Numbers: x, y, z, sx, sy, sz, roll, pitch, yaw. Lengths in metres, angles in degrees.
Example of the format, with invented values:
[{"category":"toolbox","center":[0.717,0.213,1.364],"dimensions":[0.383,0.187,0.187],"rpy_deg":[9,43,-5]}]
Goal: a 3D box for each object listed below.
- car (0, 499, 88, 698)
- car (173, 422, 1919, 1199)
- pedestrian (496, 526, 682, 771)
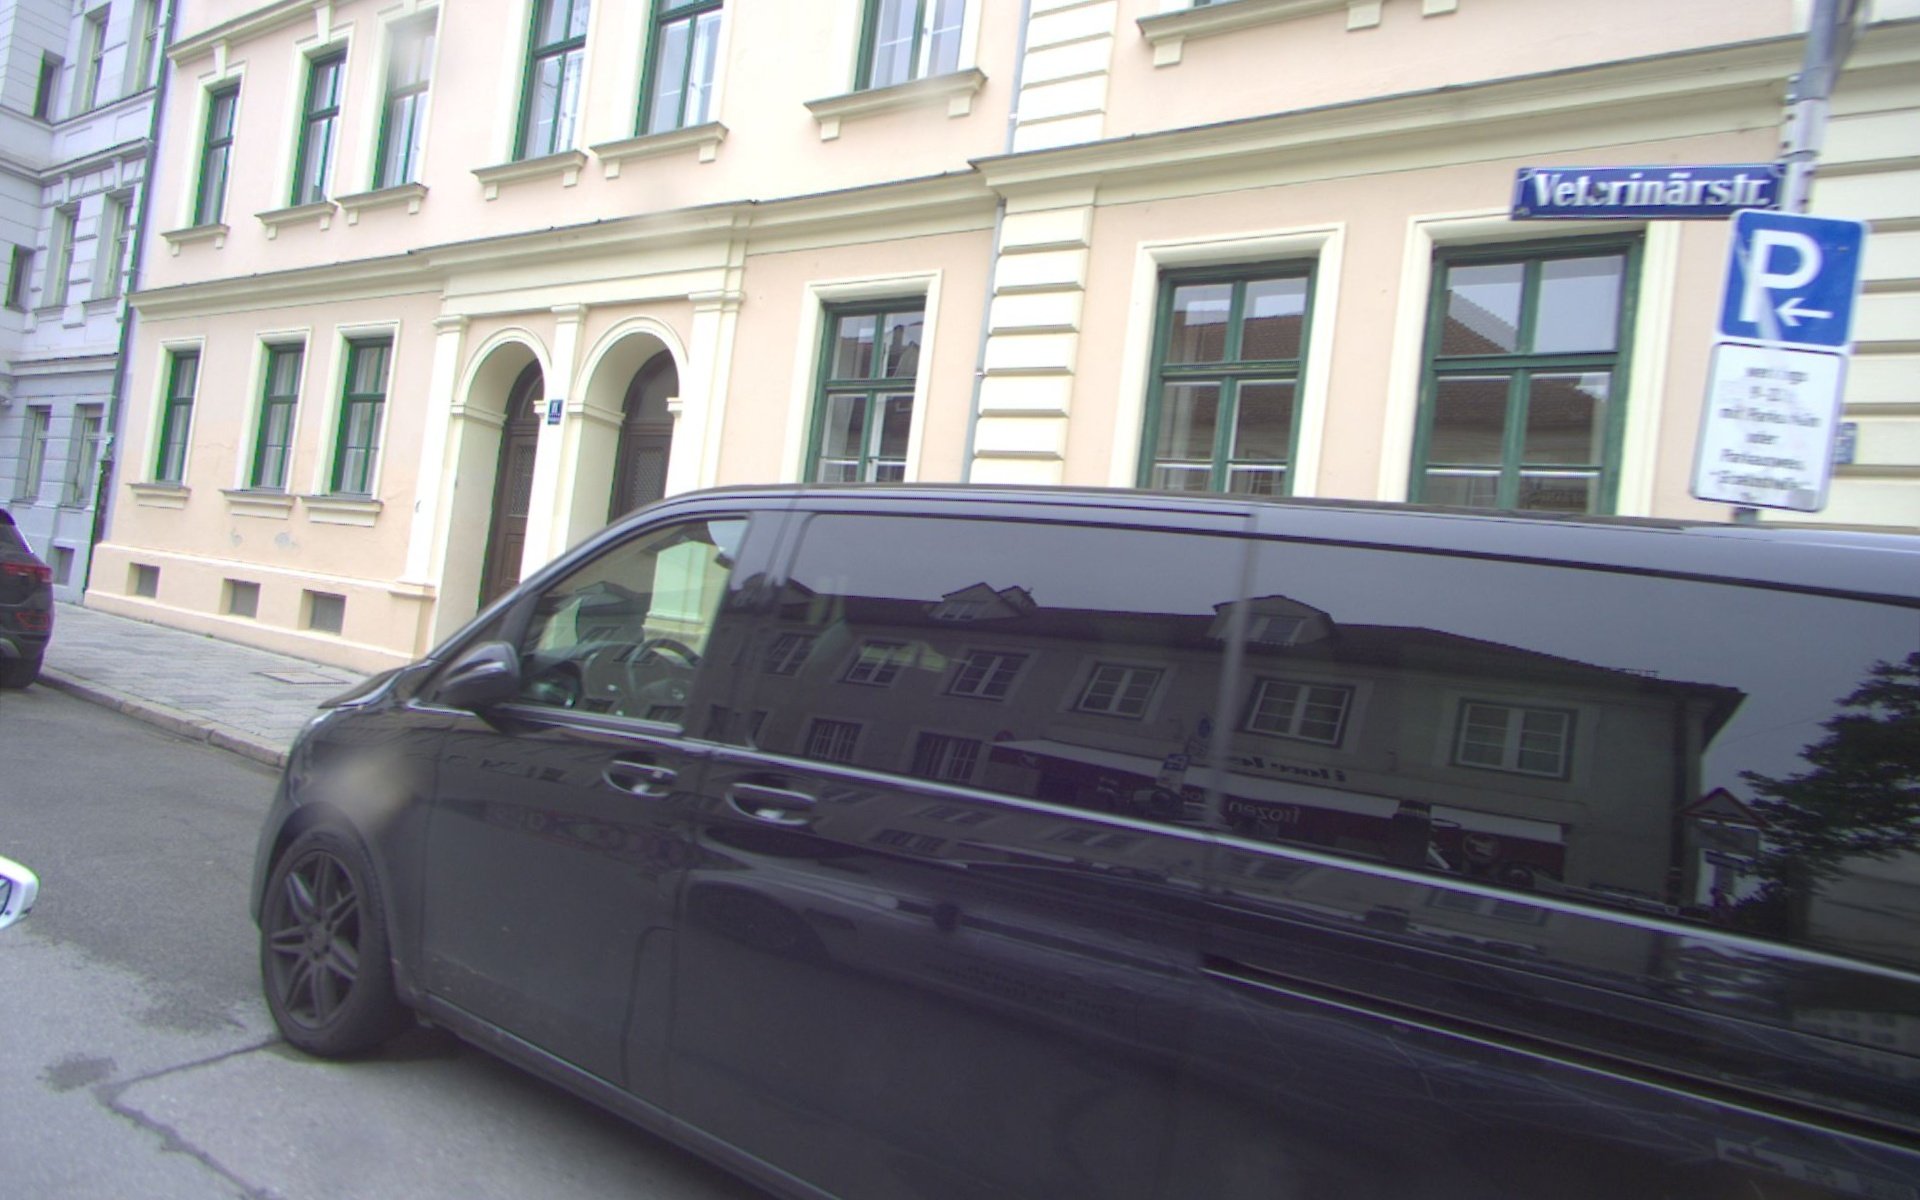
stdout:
[{"category":"car","center":[-9.492,-0.250,8.545],"dimensions":[4.202,1.538,1.759],"rpy_deg":[6,-2,30]},{"category":"car","center":[0.230,0.708,2.837],"dimensions":[5.165,1.885,2.002],"rpy_deg":[7,-3,31]},{"category":"pedestrian","center":[-2.877,0.366,7.831],"dimensions":[0.986,1.737,0.720],"rpy_deg":[5,-2,29]}]
